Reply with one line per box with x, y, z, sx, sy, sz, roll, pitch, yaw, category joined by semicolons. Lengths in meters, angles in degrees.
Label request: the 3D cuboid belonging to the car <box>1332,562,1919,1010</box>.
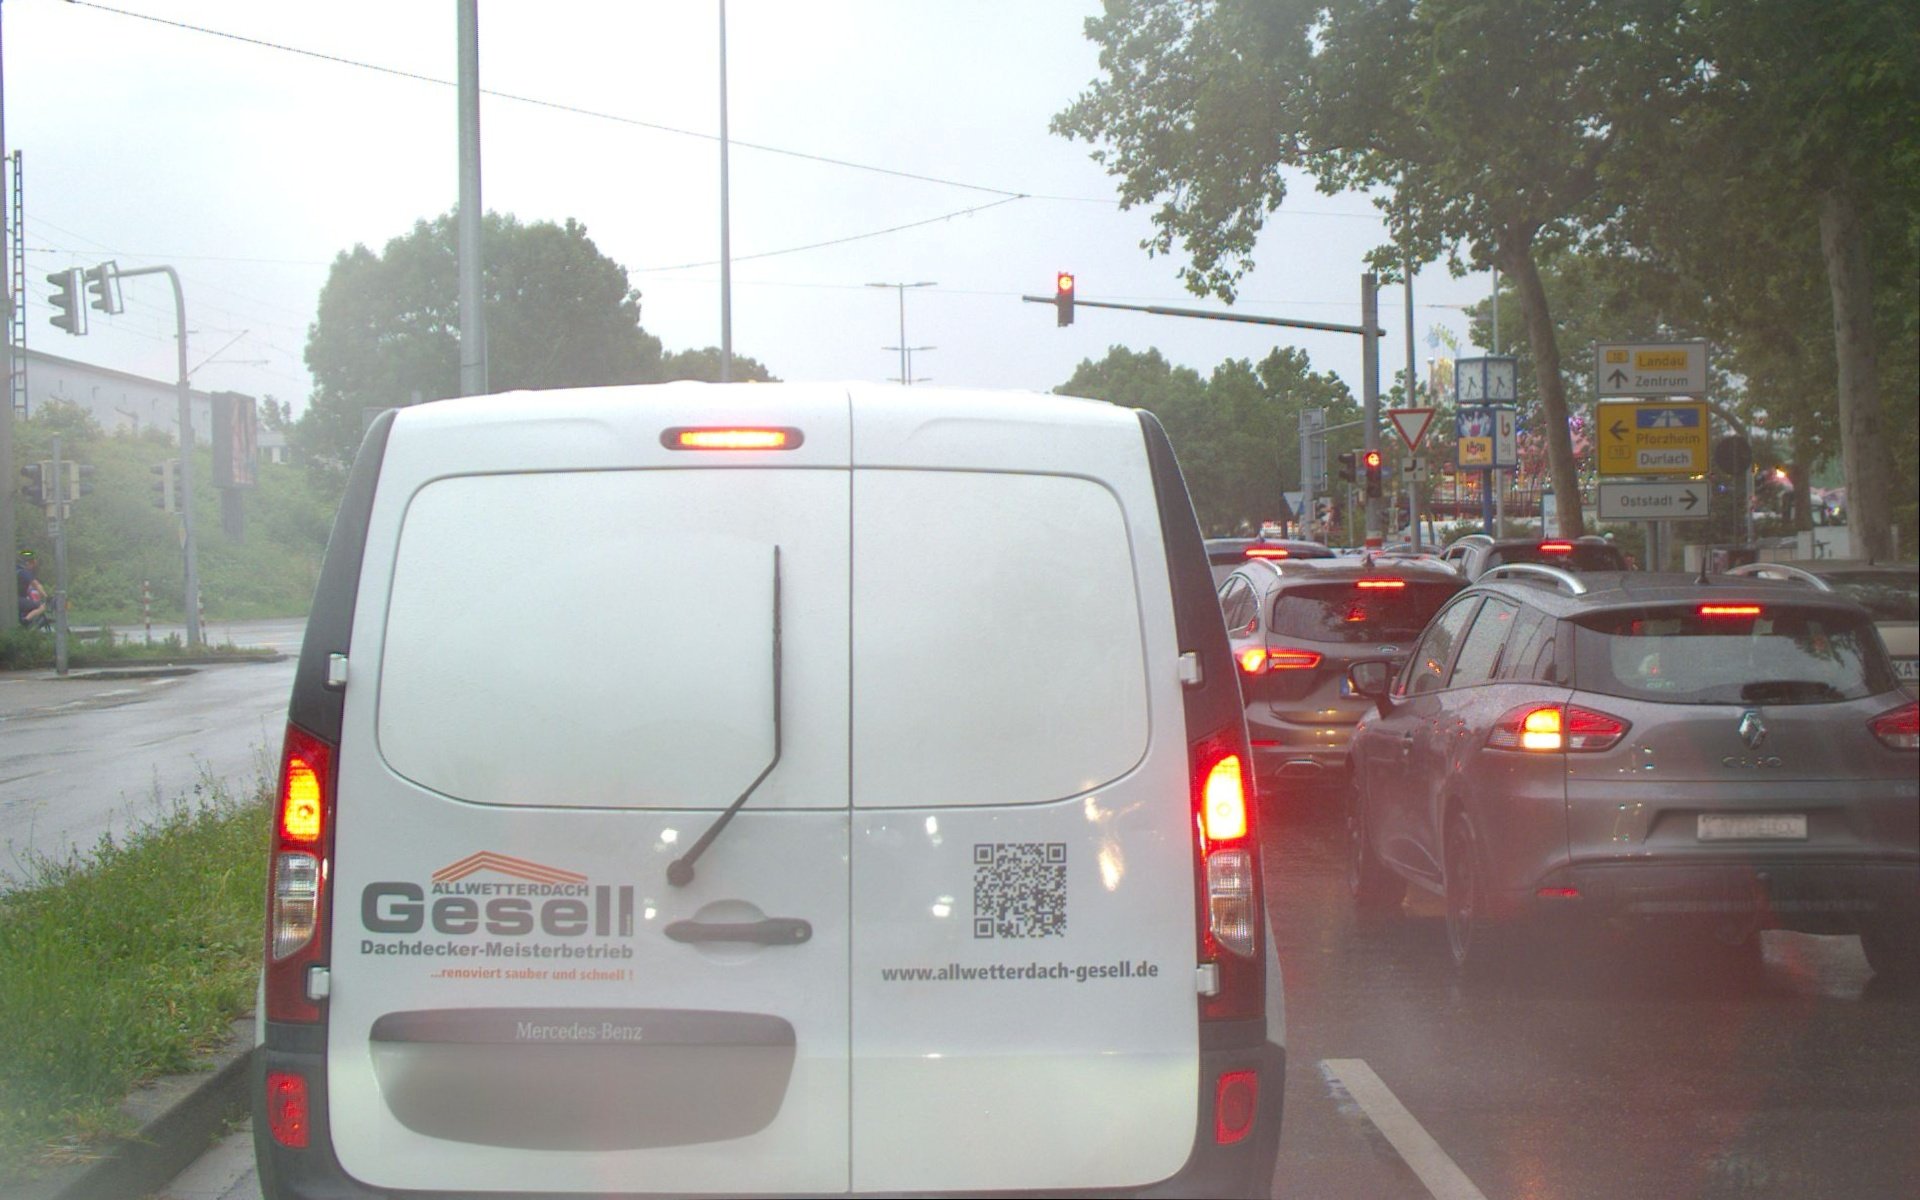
2.522;0.587;13.108;1.683;1.403;3.843;1;1;-1;car

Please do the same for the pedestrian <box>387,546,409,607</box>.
-15.709;-0.656;96.123;0.543;1.710;0.563;1;0;-4;pedestrian

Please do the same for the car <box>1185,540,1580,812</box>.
2.429;0.379;20.636;1.854;1.455;3.843;0;1;-1;car

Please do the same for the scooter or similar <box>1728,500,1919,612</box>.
19.984;-0.995;77.065;1.890;2.437;5.316;-1;1;-41;scooter or similar

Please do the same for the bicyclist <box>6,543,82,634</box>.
-14.793;-0.193;55.529;1.040;1.445;0.729;-2;2;-25;bicyclist

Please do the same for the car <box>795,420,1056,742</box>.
-0.266;-0.175;26.434;1.854;2.288;3.843;0;1;-1;car

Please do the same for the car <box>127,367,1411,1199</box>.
-0.319;0.476;7.655;1.993;1.770;4.585;0;1;-1;car

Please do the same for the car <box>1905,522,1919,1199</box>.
2.974;0.644;5.413;1.747;1.549;4.091;0;1;-1;car

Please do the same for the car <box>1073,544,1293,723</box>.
2.113;0.290;33.527;1.854;1.644;3.843;0;1;-1;car

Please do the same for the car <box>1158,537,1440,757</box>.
2.670;0.318;27.864;1.854;1.644;3.843;0;1;-1;car

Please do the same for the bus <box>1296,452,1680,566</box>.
16.958;-2.931;110.879;11.970;3.411;2.315;-1;1;0;bus

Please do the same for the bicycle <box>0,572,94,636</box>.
-14.812;0.052;55.581;1.040;0.949;2.889;-2;2;-25;bicycle

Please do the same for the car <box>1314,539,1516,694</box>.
5.053;0.159;38.637;1.708;1.644;3.843;0;1;-1;car

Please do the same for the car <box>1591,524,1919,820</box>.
5.229;0.365;21.125;1.876;1.607;4.000;1;1;-1;car

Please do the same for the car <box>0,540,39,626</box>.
-22.782;-0.399;76.334;3.989;1.881;1.999;0;2;-42;car
